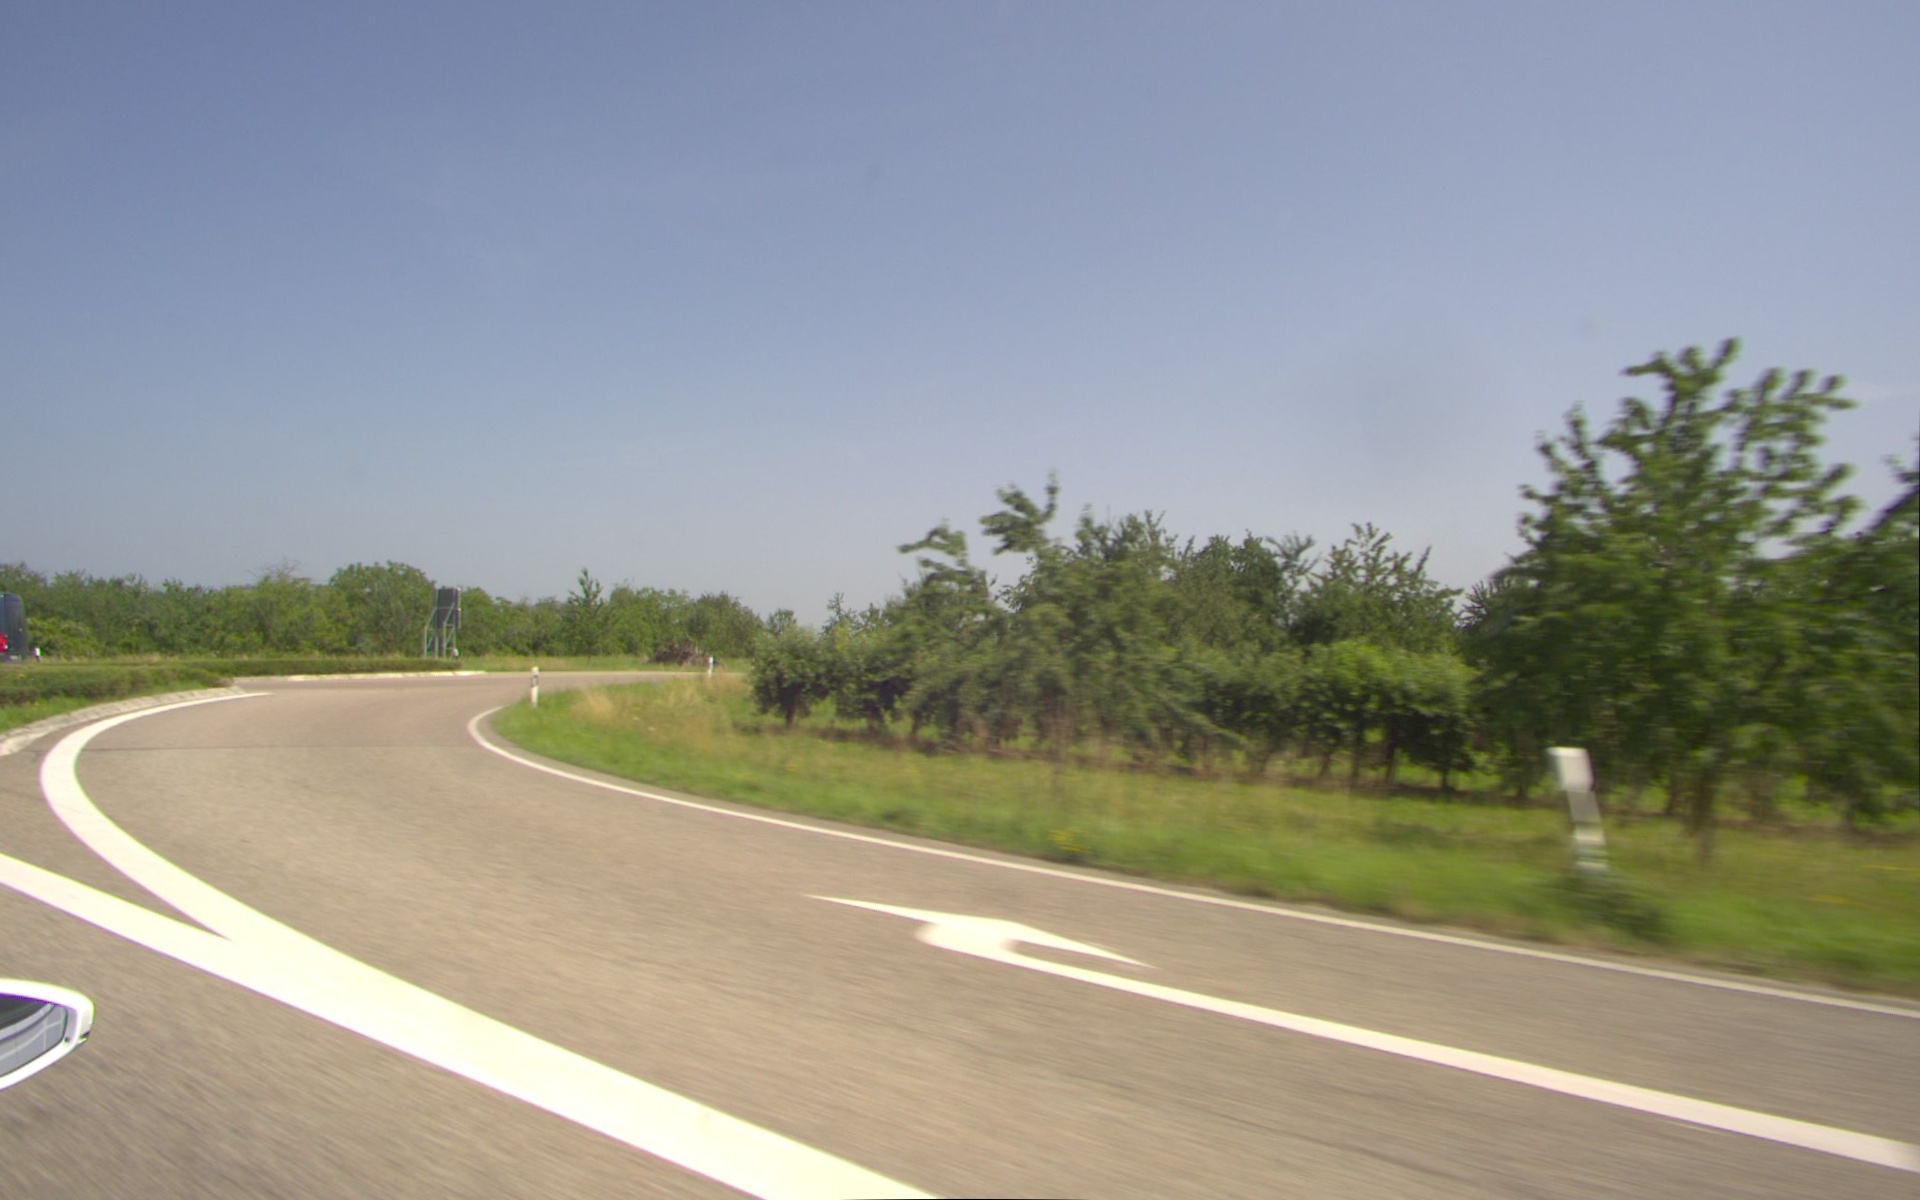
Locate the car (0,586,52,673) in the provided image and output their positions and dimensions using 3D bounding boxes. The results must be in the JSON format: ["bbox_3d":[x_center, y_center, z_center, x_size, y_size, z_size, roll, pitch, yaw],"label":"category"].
[{"bbox_3d":[-31.408,0.876,29.752,6.219,2.608,2.053,1,-1,-28],"label":"car"}]
